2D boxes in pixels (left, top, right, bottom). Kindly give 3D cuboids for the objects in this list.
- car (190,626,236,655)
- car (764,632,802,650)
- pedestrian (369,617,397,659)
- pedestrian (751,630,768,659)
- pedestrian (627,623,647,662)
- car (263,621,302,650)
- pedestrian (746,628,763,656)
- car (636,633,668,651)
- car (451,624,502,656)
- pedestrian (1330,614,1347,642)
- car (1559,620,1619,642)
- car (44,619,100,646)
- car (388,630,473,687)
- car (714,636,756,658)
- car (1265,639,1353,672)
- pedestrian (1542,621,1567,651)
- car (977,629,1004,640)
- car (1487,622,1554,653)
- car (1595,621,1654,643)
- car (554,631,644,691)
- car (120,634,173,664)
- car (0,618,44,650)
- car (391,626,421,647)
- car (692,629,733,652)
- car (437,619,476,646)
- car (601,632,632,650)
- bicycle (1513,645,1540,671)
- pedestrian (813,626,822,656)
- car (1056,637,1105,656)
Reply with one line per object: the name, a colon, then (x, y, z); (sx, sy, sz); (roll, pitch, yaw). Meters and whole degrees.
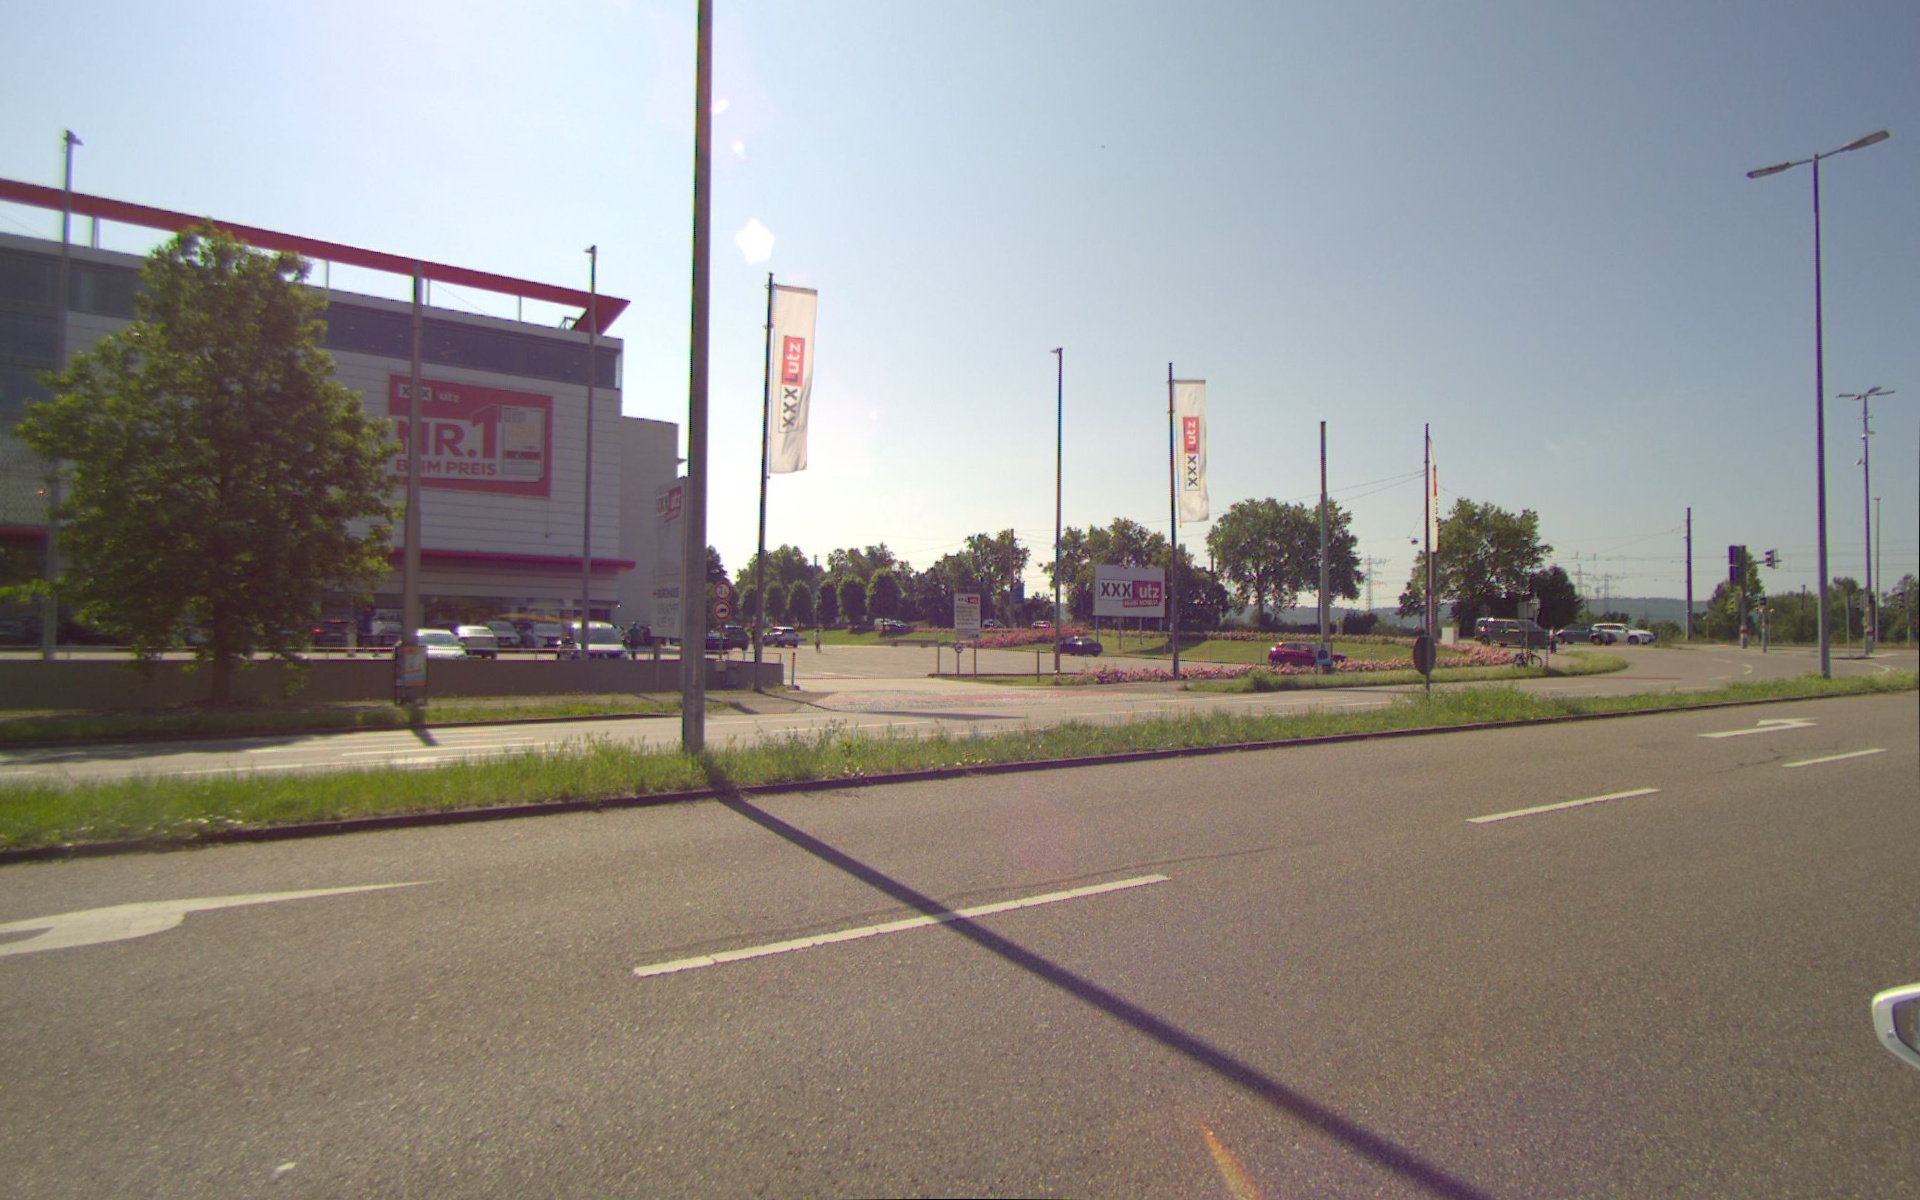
car: (-35.898, 1.927, 48.335); (1.500, 1.347, 3.070); (3, -3, -33)
car: (-14.220, 3.257, 80.720); (1.733, 1.347, 3.641); (3, -3, -33)
pedestrian: (-28.396, 1.879, 49.440); (1.006, 2.040, 0.861); (0, -2, -18)
pedestrian: (-14.575, 3.241, 72.914); (0.965, 2.040, 0.941); (1, -3, -32)
pedestrian: (-15.729, 2.056, 48.852); (0.743, 1.882, 0.849); (1, -3, -32)
car: (-33.455, 1.748, 49.666); (1.500, 1.347, 3.070); (3, -3, -33)
pedestrian: (-15.104, 3.077, 73.908); (0.965, 2.040, 0.941); (1, -3, -32)
car: (-23.313, 3.161, 75.929); (1.500, 1.347, 3.070); (3, -3, -33)
car: (-21.835, 1.783, 45.277); (1.500, 1.347, 4.463); (3, -3, -33)
pedestrian: (27.866, 2.053, 73.979); (0.906, 1.997, 0.713); (2, -2, -28)
car: (44.733, 2.209, 71.513); (1.395, 1.519, 3.365); (3, -3, -34)
car: (-43.476, 1.609, 49.236); (1.589, 1.244, 3.070); (3, -3, -33)
car: (-16.539, 1.779, 31.291); (1.852, 1.648, 4.385); (2, -3, -34)
car: (-14.923, 3.112, 66.602); (1.760, 1.347, 3.070); (3, -3, -33)
car: (18.513, 2.936, 53.454); (1.810, 1.626, 4.153); (3, -3, -36)
pedestrian: (34.344, 2.066, 58.052); (0.892, 1.729, 0.839); (0, -2, -21)
car: (4.066, 4.625, 133.995); (1.743, 1.540, 3.964); (1, -2, -33)
car: (37.603, 2.459, 67.517); (1.784, 1.951, 3.992); (0, 0, -11)
car: (47.902, 2.312, 72.470); (1.396, 1.519, 3.320); (3, -3, -36)
car: (-12.242, 2.020, 33.920); (1.925, 1.866, 4.388); (2, -3, -32)
car: (-37.652, 2.249, 46.539); (1.500, 1.310, 3.070); (3, -3, -33)
car: (-41.691, 1.478, 44.195); (1.500, 1.347, 3.070); (3, -3, -33)
car: (-36.565, 2.404, 66.294); (1.500, 1.347, 3.070); (3, -3, -33)
car: (-15.156, 2.464, 61.416); (1.500, 1.347, 3.070); (3, -3, -33)
car: (-27.229, 1.754, 54.293); (1.500, 1.347, 3.070); (3, -3, -33)
car: (-24.998, 2.992, 73.045); (1.426, 1.241, 3.070); (3, -3, -32)
bicycle: (23.254, 2.398, 41.200); (1.628, 1.036, 0.328); (4, -4, -36)
pedestrian: (-9.320, 2.687, 65.729); (0.489, 1.920, 0.783); (0, -2, -2)
car: (9.286, 3.592, 77.455); (1.711, 1.347, 3.825); (3, -3, -33)
